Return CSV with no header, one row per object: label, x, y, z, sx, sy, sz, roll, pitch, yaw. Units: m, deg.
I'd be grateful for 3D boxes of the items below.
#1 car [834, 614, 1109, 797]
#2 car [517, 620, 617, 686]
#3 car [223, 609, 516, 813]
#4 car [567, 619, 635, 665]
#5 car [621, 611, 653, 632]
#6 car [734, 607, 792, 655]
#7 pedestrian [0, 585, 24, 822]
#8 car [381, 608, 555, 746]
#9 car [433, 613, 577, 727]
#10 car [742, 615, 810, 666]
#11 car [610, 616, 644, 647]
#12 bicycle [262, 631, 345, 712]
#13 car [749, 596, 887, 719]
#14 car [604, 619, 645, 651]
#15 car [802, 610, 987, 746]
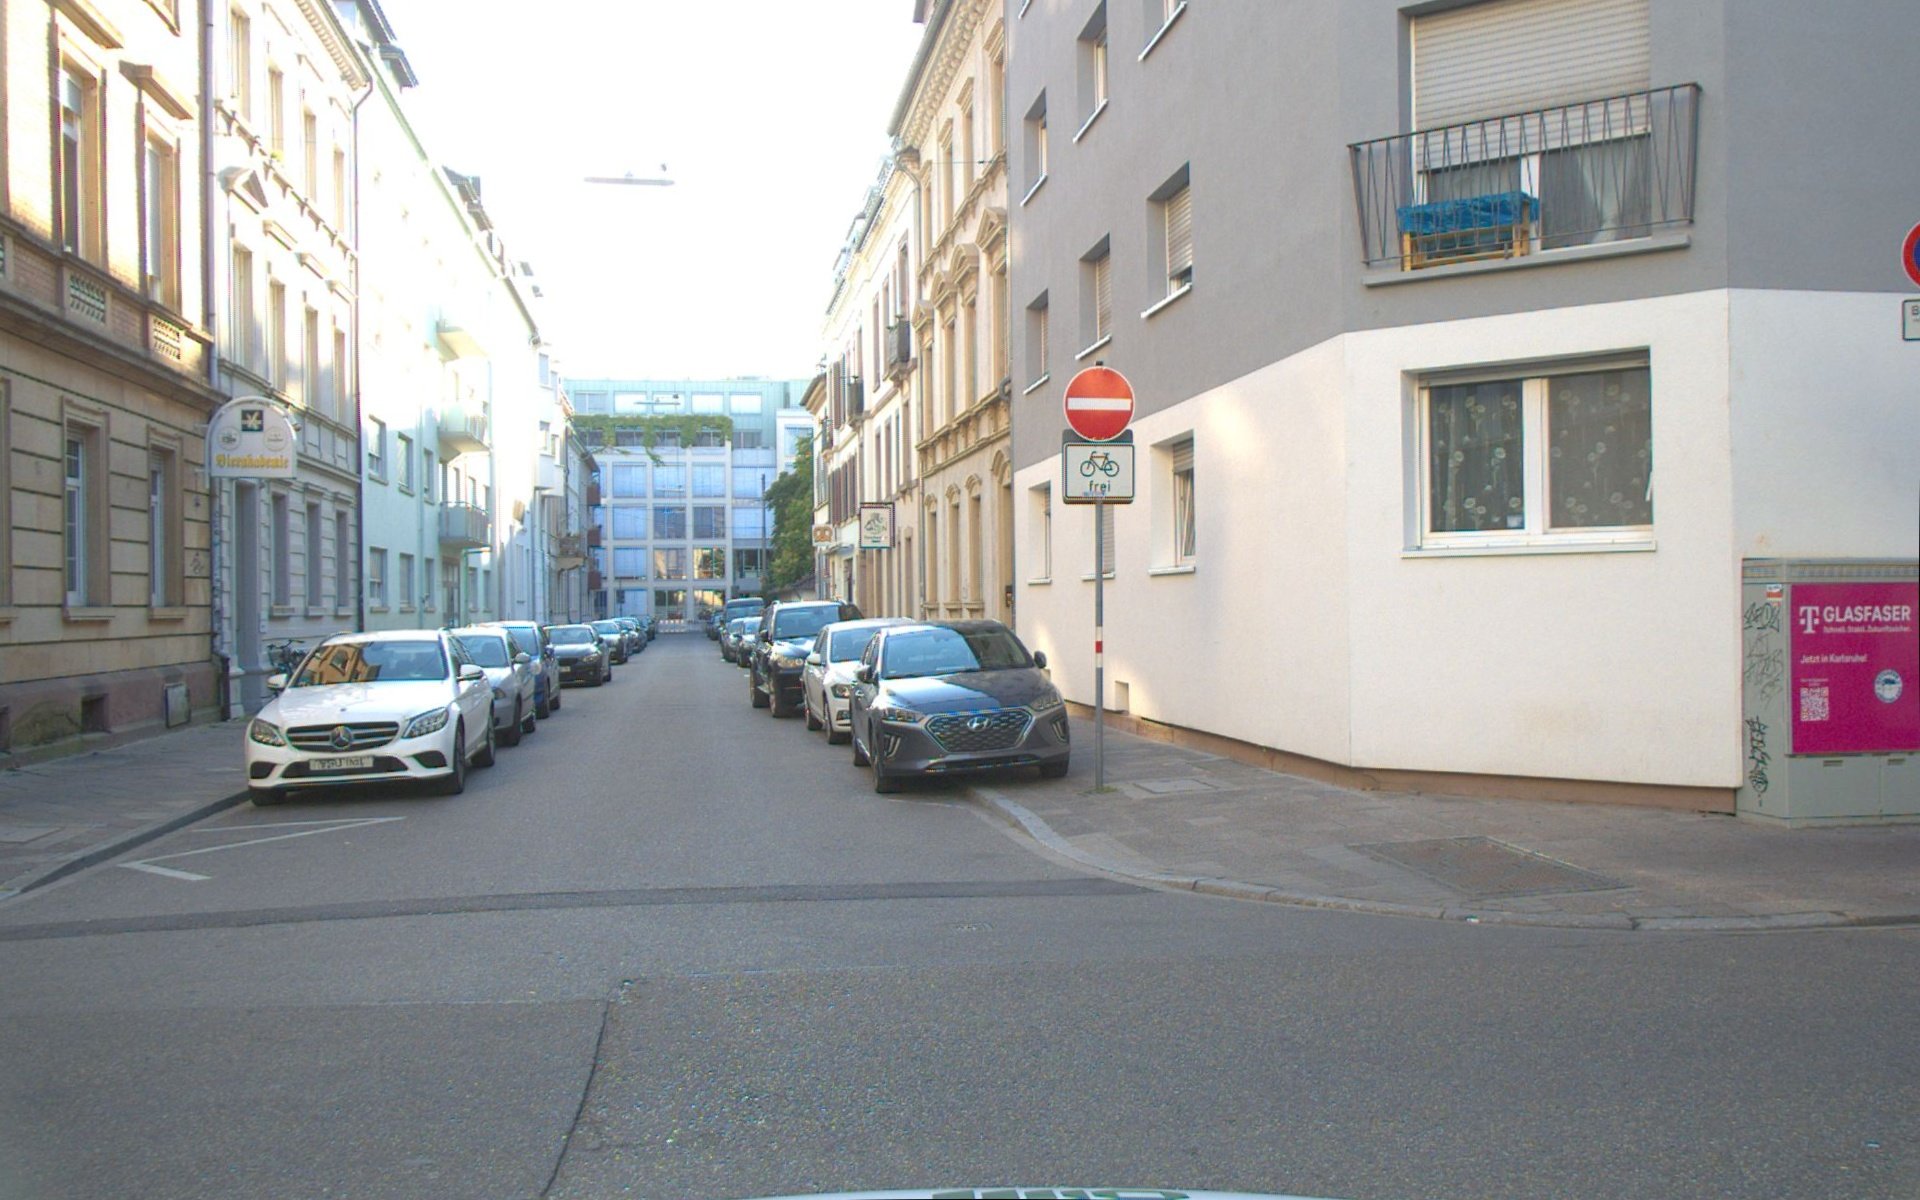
car,-0.031,0.886,15.689,1.903,1.396,3.779,-3,0,-10
car,-9.082,1.188,38.494,1.957,1.378,4.419,-1,0,-10
car,-5.544,0.933,16.128,1.958,1.591,4.494,-3,0,-11
car,-12.097,1.389,55.897,2.134,1.443,3.988,-1,0,-11
car,-21.201,1.420,108.575,1.958,1.332,3.872,-1,0,-11
car,-7.462,1.129,62.308,1.957,1.730,3.990,0,0,-10
pedestrian,-7.675,0.780,12.204,0.962,1.773,1.016,0,0,-2
car,-6.274,0.913,21.438,1.594,1.604,3.747,-1,0,-8
car,-7.355,1.072,27.062,1.752,1.688,3.809,-1,0,-8
car,-5.794,1.232,51.773,1.956,1.476,3.992,0,0,-8
car,-15.862,1.486,78.762,1.557,1.435,3.380,-1,0,-12
bicycle,-10.496,1.115,26.517,0.724,1.181,2.456,0,0,-9
car,-2.385,0.864,26.917,1.859,1.815,3.990,-1,0,-10
car,-14.722,1.522,72.757,1.676,1.325,3.990,-1,0,-10
car,-0.952,0.934,21.677,1.928,1.584,3.879,-1,0,-10
